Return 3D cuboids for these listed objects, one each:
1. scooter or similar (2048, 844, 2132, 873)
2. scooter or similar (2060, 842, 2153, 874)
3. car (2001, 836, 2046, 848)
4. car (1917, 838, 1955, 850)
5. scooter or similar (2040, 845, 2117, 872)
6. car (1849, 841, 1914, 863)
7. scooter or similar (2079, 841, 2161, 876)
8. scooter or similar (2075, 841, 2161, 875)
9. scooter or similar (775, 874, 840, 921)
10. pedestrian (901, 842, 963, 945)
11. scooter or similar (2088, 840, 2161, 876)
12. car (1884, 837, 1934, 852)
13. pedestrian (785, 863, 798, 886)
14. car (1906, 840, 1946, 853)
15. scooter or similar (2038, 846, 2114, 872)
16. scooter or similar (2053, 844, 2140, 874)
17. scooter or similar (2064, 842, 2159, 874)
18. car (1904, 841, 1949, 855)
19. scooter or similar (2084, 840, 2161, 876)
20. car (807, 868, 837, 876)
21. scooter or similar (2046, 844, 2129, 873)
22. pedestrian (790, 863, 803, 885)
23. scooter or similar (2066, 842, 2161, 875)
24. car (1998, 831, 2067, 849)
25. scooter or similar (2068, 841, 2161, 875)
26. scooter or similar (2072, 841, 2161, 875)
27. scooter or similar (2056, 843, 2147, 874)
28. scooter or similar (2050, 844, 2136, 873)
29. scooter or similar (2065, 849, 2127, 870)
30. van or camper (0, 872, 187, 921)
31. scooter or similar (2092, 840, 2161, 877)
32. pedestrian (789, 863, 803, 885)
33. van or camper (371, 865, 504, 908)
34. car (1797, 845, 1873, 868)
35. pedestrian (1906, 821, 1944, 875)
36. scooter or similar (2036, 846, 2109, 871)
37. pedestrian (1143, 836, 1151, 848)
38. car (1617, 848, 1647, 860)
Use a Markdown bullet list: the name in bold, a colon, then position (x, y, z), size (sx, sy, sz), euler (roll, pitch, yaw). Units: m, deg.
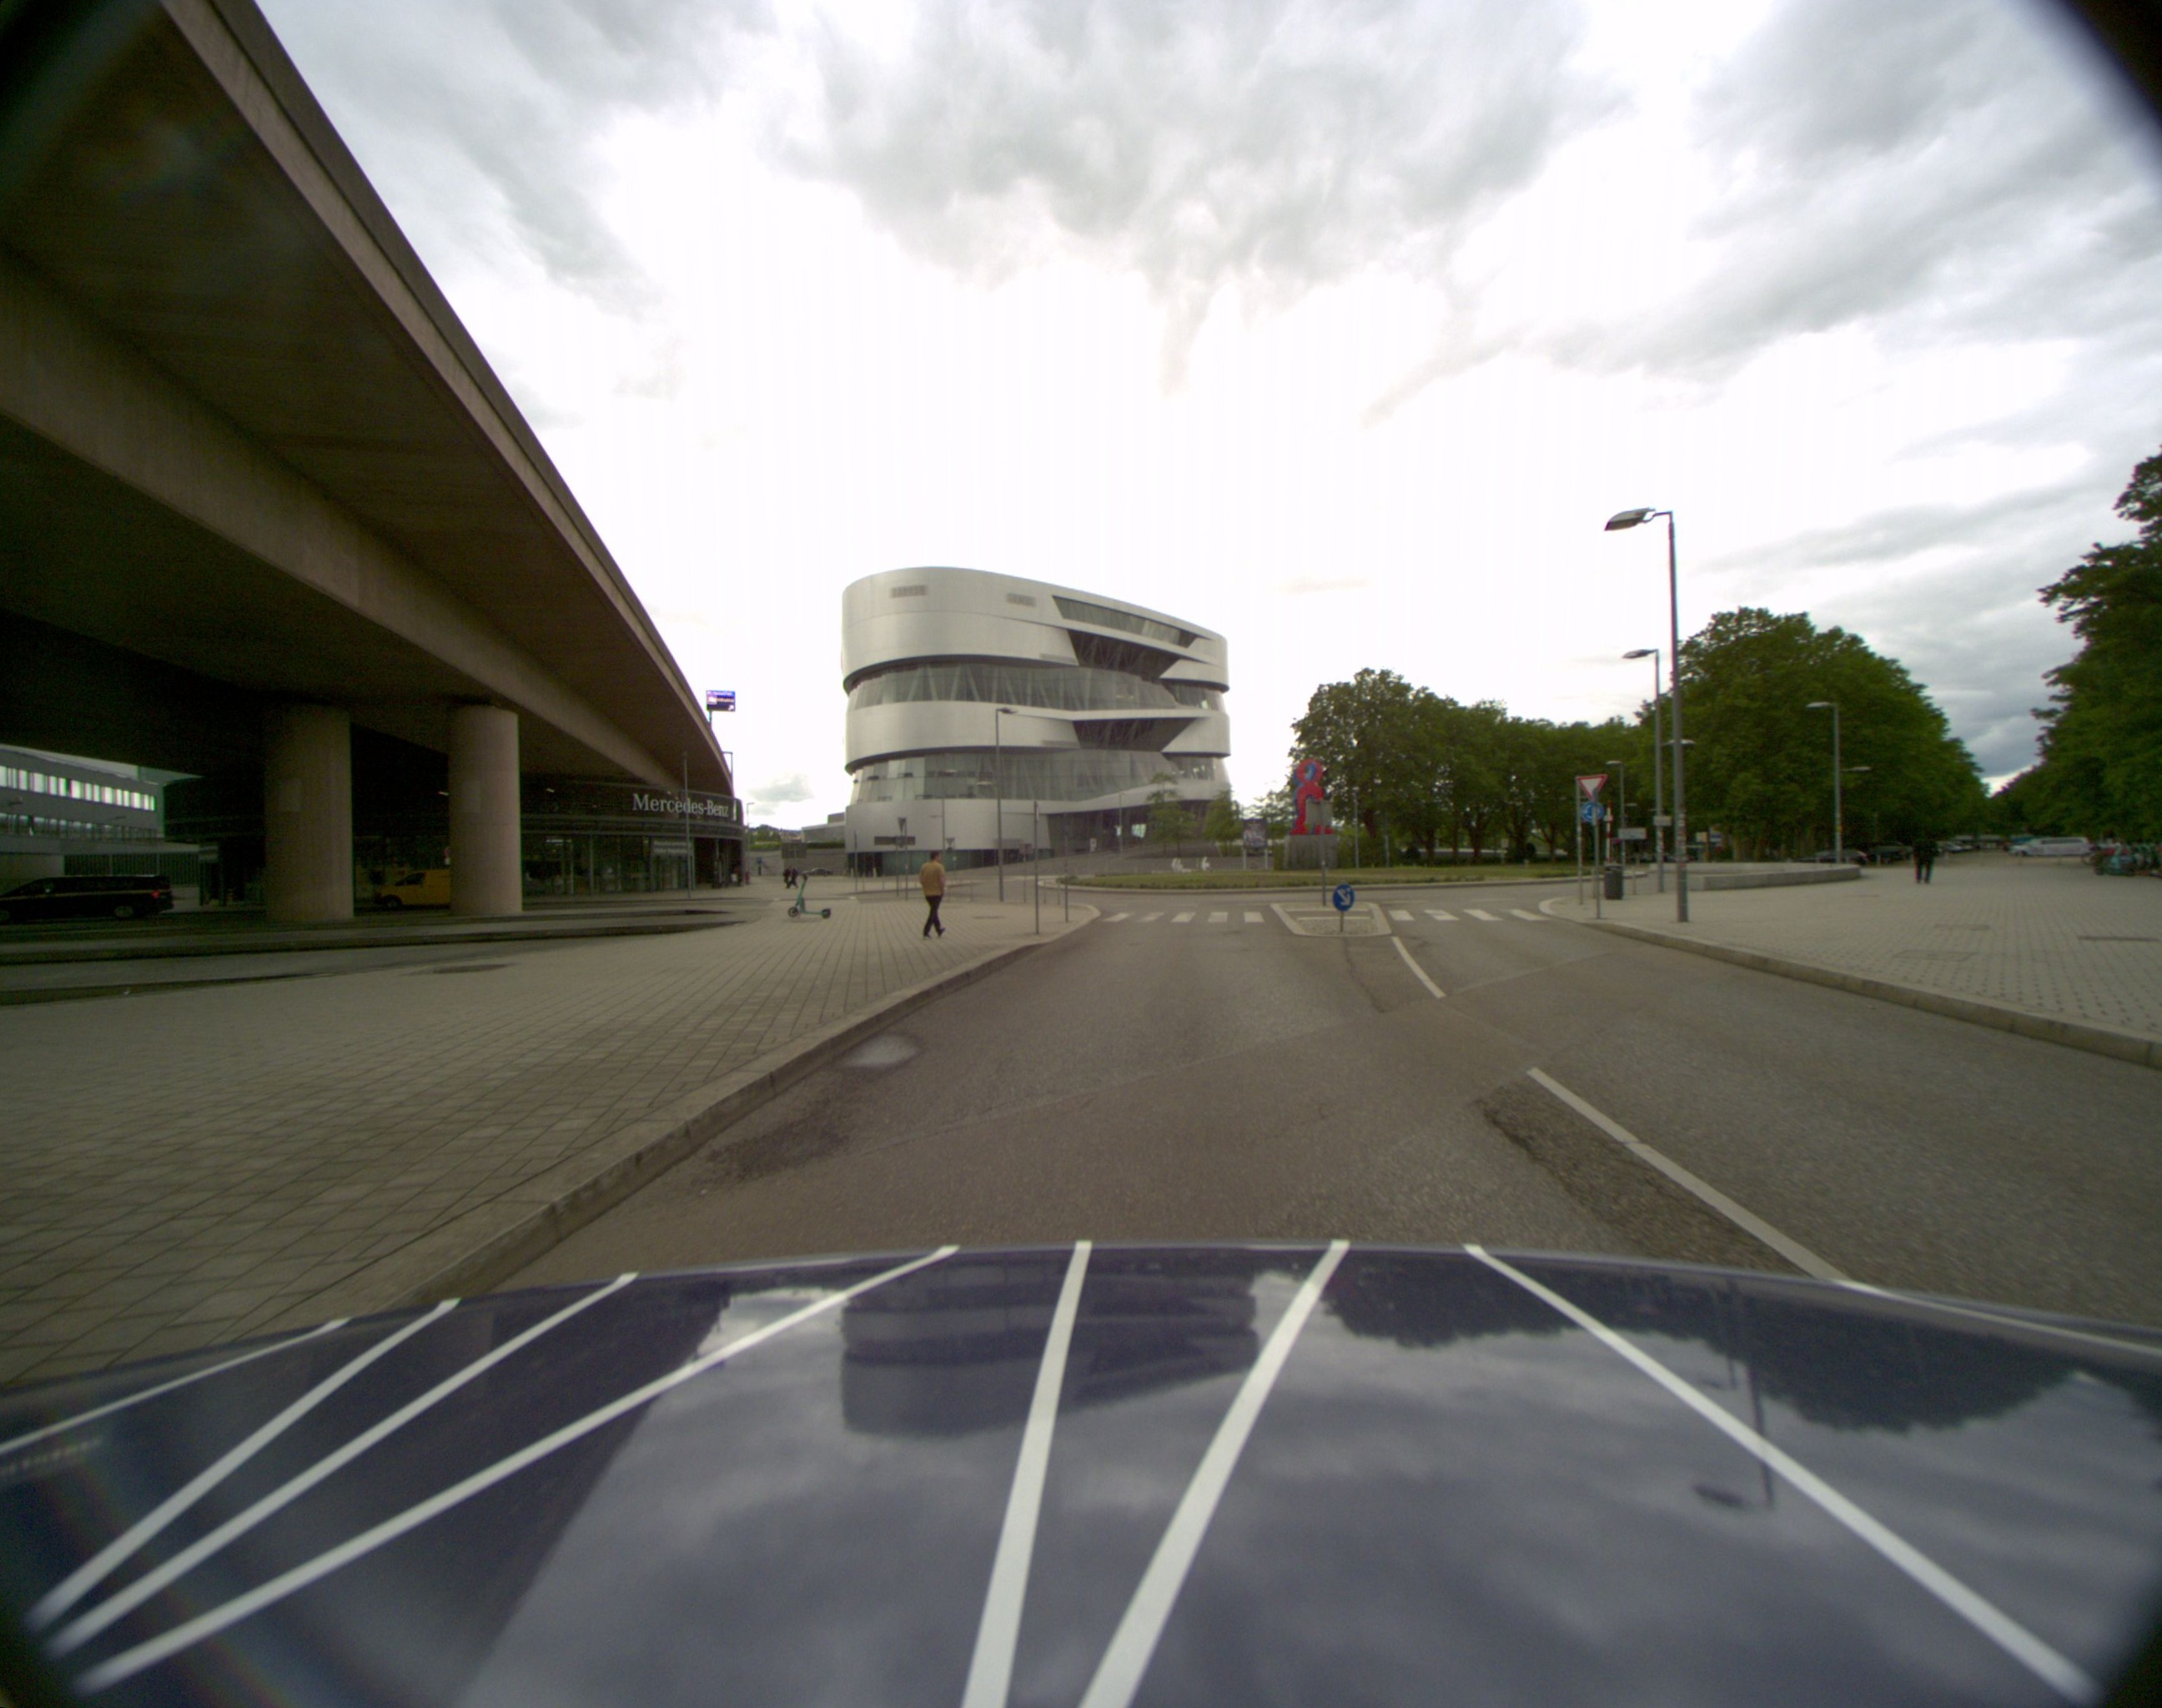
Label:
- **scooter or similar**: position (40.855, 0.202, 30.798), size (0.642, 1.102, 1.970), euler (0, -2, -43)
- **scooter or similar**: position (38.179, 0.174, 28.323), size (0.642, 1.102, 1.970), euler (0, -2, -43)
- **car**: position (155.144, -1.952, 125.106), size (4.425, 1.641, 1.801), euler (-3, -2, 44)
- **car**: position (156.243, -1.810, 138.929), size (4.425, 1.805, 1.801), euler (-3, -2, 44)
- **scooter or similar**: position (43.788, 0.219, 33.389), size (0.642, 1.102, 1.970), euler (0, -2, -43)
- **car**: position (69.973, -0.180, 66.466), size (1.674, 1.766, 3.702), euler (0, -2, -39)
- **scooter or similar**: position (34.763, 0.144, 25.187), size (0.642, 1.102, 1.970), euler (0, -2, -43)
- **scooter or similar**: position (35.329, 0.153, 25.703), size (0.642, 1.102, 1.970), euler (0, -2, -43)
- **scooter or similar**: position (-7.723, 1.228, 21.502), size (1.648, 1.288, 0.518), euler (-1, -1, -1)
- **pedestrian**: position (-3.008, 0.798, 15.406), size (0.783, 2.001, 1.041), euler (-2, -1, 21)
- **scooter or similar**: position (33.655, 0.131, 24.114), size (0.642, 1.102, 1.970), euler (0, -2, -43)
- **car**: position (112.059, -1.259, 102.853), size (4.425, 1.722, 1.801), euler (-3, -2, 44)
- **pedestrian**: position (-22.521, 1.600, 59.117), size (0.784, 1.787, 0.863), euler (0, -2, -34)
- **car**: position (142.682, -1.245, 128.389), size (1.800, 1.865, 4.425), euler (0, -2, -42)
- **scooter or similar**: position (44.458, 0.227, 33.977), size (0.642, 1.102, 1.970), euler (0, -2, -43)
- **scooter or similar**: position (39.814, 0.196, 29.825), size (0.642, 1.102, 1.970), euler (0, -2, -43)
- **scooter or similar**: position (37.540, 0.166, 27.727), size (0.642, 1.102, 1.970), euler (0, -2, -43)
- **car**: position (128.067, -0.840, 115.128), size (1.800, 1.865, 4.425), euler (0, -2, -42)
- **scooter or similar**: position (34.244, 0.133, 24.664), size (0.642, 1.102, 1.970), euler (0, -2, -43)
- **car**: position (-46.880, 3.191, 137.569), size (4.914, 1.389, 1.532), euler (0, -2, -26)
- **scooter or similar**: position (41.400, 0.200, 31.284), size (0.642, 1.102, 1.970), euler (0, -2, -43)
- **pedestrian**: position (-21.950, 1.555, 58.612), size (0.774, 1.694, 0.785), euler (0, -2, -29)
- **scooter or similar**: position (36.937, 0.163, 27.185), size (0.642, 1.102, 1.970), euler (0, -2, -43)
- **car**: position (101.928, -1.439, 81.450), size (1.800, 1.641, 4.425), euler (0, -2, -42)
- **scooter or similar**: position (36.350, 0.159, 26.684), size (0.642, 1.102, 1.970), euler (0, -2, -43)
- **scooter or similar**: position (35.838, 0.155, 26.190), size (0.642, 1.102, 1.970), euler (0, -2, -43)
- **scooter or similar**: position (38.797, 0.184, 28.921), size (0.642, 1.102, 1.970), euler (0, -2, -43)
- **scooter or similar**: position (40.335, 0.193, 30.310), size (0.642, 1.102, 1.970), euler (0, -2, -43)
- **scooter or similar**: position (56.798, 0.304, 42.549), size (0.642, 1.102, 1.970), euler (0, -2, -43)
- **van or camper**: position (-41.640, 1.739, 31.950), size (4.911, 1.881, 2.148), euler (0, -1, -37)
- **scooter or similar**: position (33.028, 0.129, 23.546), size (0.642, 1.102, 1.970), euler (0, -2, -43)
- **pedestrian**: position (-21.698, 1.521, 57.843), size (0.774, 1.694, 0.863), euler (0, -2, -32)
- **van or camper**: position (-31.802, 1.581, 37.750), size (4.509, 1.987, 2.359), euler (-1, -1, -20)
- **car**: position (55.280, 0.213, 55.737), size (1.783, 1.515, 3.816), euler (0, -2, -41)
- **pedestrian**: position (28.751, -0.183, 25.878), size (0.867, 1.796, 0.791), euler (0, -2, -40)
- **scooter or similar**: position (46.001, 0.238, 35.283), size (0.642, 1.102, 1.970), euler (0, -2, -43)
- **pedestrian**: position (11.598, -2.090, 133.515), size (0.954, 1.913, 0.850), euler (-6, 2, -44)
- **car**: position (84.070, 0.028, 115.890), size (1.691, 1.674, 3.441), euler (-2, 0, -42)
